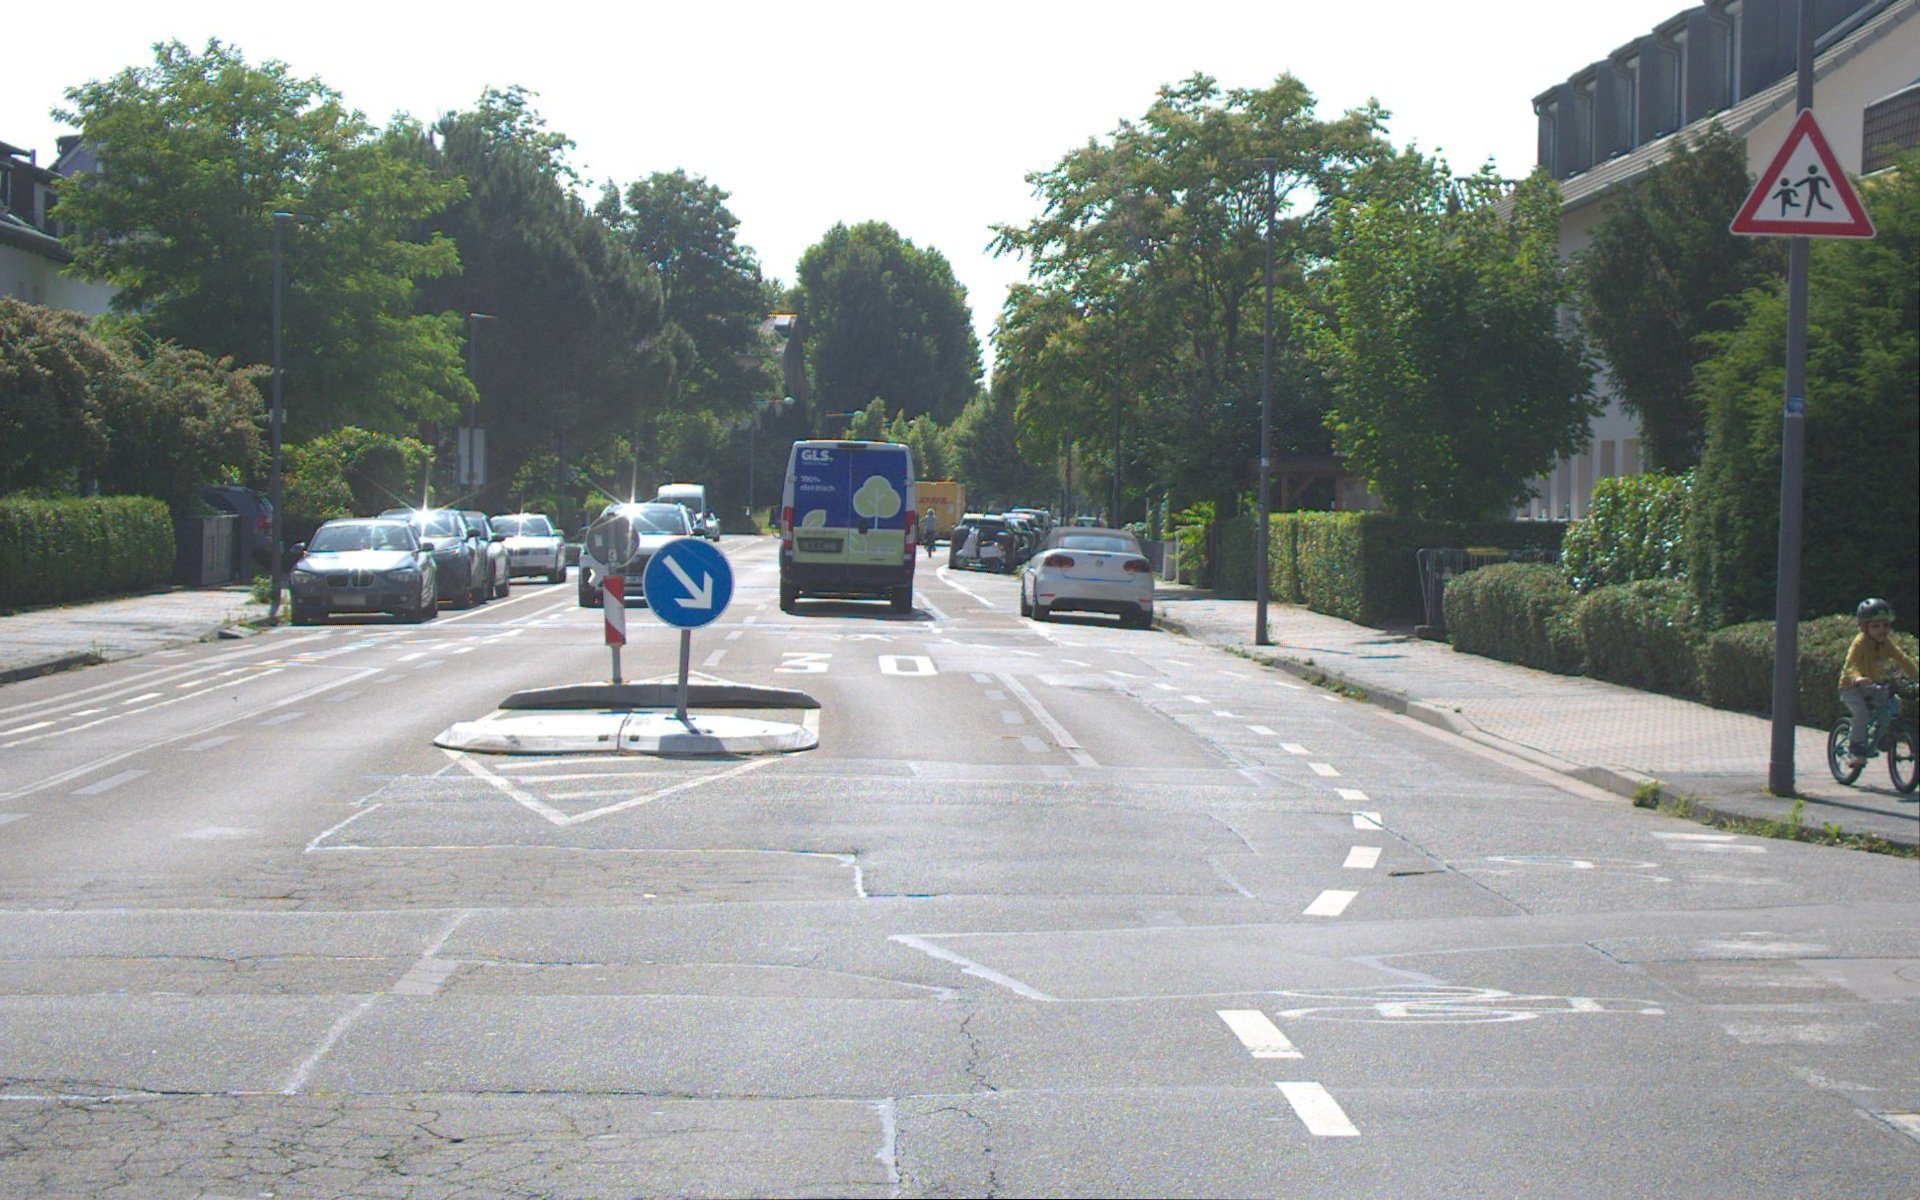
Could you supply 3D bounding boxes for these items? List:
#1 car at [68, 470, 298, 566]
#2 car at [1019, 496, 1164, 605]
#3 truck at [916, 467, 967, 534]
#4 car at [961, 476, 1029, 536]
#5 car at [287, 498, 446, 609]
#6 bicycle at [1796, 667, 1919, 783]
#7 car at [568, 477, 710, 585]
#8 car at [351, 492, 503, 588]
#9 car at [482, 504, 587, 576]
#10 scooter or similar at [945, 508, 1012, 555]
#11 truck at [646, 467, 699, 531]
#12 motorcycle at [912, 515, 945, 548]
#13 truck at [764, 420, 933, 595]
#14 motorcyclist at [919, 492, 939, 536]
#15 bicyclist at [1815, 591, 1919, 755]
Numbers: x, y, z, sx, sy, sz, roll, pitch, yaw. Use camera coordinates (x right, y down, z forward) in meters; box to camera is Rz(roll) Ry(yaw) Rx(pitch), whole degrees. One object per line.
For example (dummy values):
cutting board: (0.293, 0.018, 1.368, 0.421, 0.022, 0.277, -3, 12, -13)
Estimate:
car: (-14.966, -1.598, 66.380, 3.987, 1.753, 2.000, 1, 2, -1)
car: (1.919, -0.770, 51.223, 1.740, 1.397, 4.075, 3, 2, -3)
truck: (-0.856, -4.524, 156.561, 2.214, 2.936, 5.687, 1, 1, -1)
car: (0.989, -2.730, 99.278, 1.785, 1.632, 4.471, 1, 2, -1)
car: (-8.174, -0.675, 47.633, 1.785, 1.435, 4.156, -1, 2, -5)
bicycle: (5.276, 0.720, 20.107, 0.401, 0.597, 1.151, 0, 2, -5)
car: (-5.163, -1.134, 55.760, 1.915, 1.661, 4.506, -1, 1, -1)
car: (-8.378, -0.977, 54.353, 1.785, 1.435, 4.111, 0, 2, 0)
car: (-8.736, -1.258, 70.771, 1.785, 1.435, 4.001, 0, 2, -2)
scooter or similar: (0.507, -1.927, 96.536, 1.796, 1.150, 0.718, 6, 2, 43)
truck: (-11.776, -4.156, 140.792, 2.080, 2.528, 5.468, 1, 2, -5)
motorcycle: (-1.108, -2.379, 119.183, 1.056, 1.118, 2.992, 1, 1, -2)
truck: (-1.777, -1.428, 53.297, 2.272, 2.562, 4.393, 1, 1, -6)
motorcyclist: (-1.077, -2.963, 118.993, 0.672, 1.513, 0.652, 1, 1, -2)
bicyclist: (5.299, 0.420, 20.070, 0.398, 0.930, 0.609, 1, 1, -5)
